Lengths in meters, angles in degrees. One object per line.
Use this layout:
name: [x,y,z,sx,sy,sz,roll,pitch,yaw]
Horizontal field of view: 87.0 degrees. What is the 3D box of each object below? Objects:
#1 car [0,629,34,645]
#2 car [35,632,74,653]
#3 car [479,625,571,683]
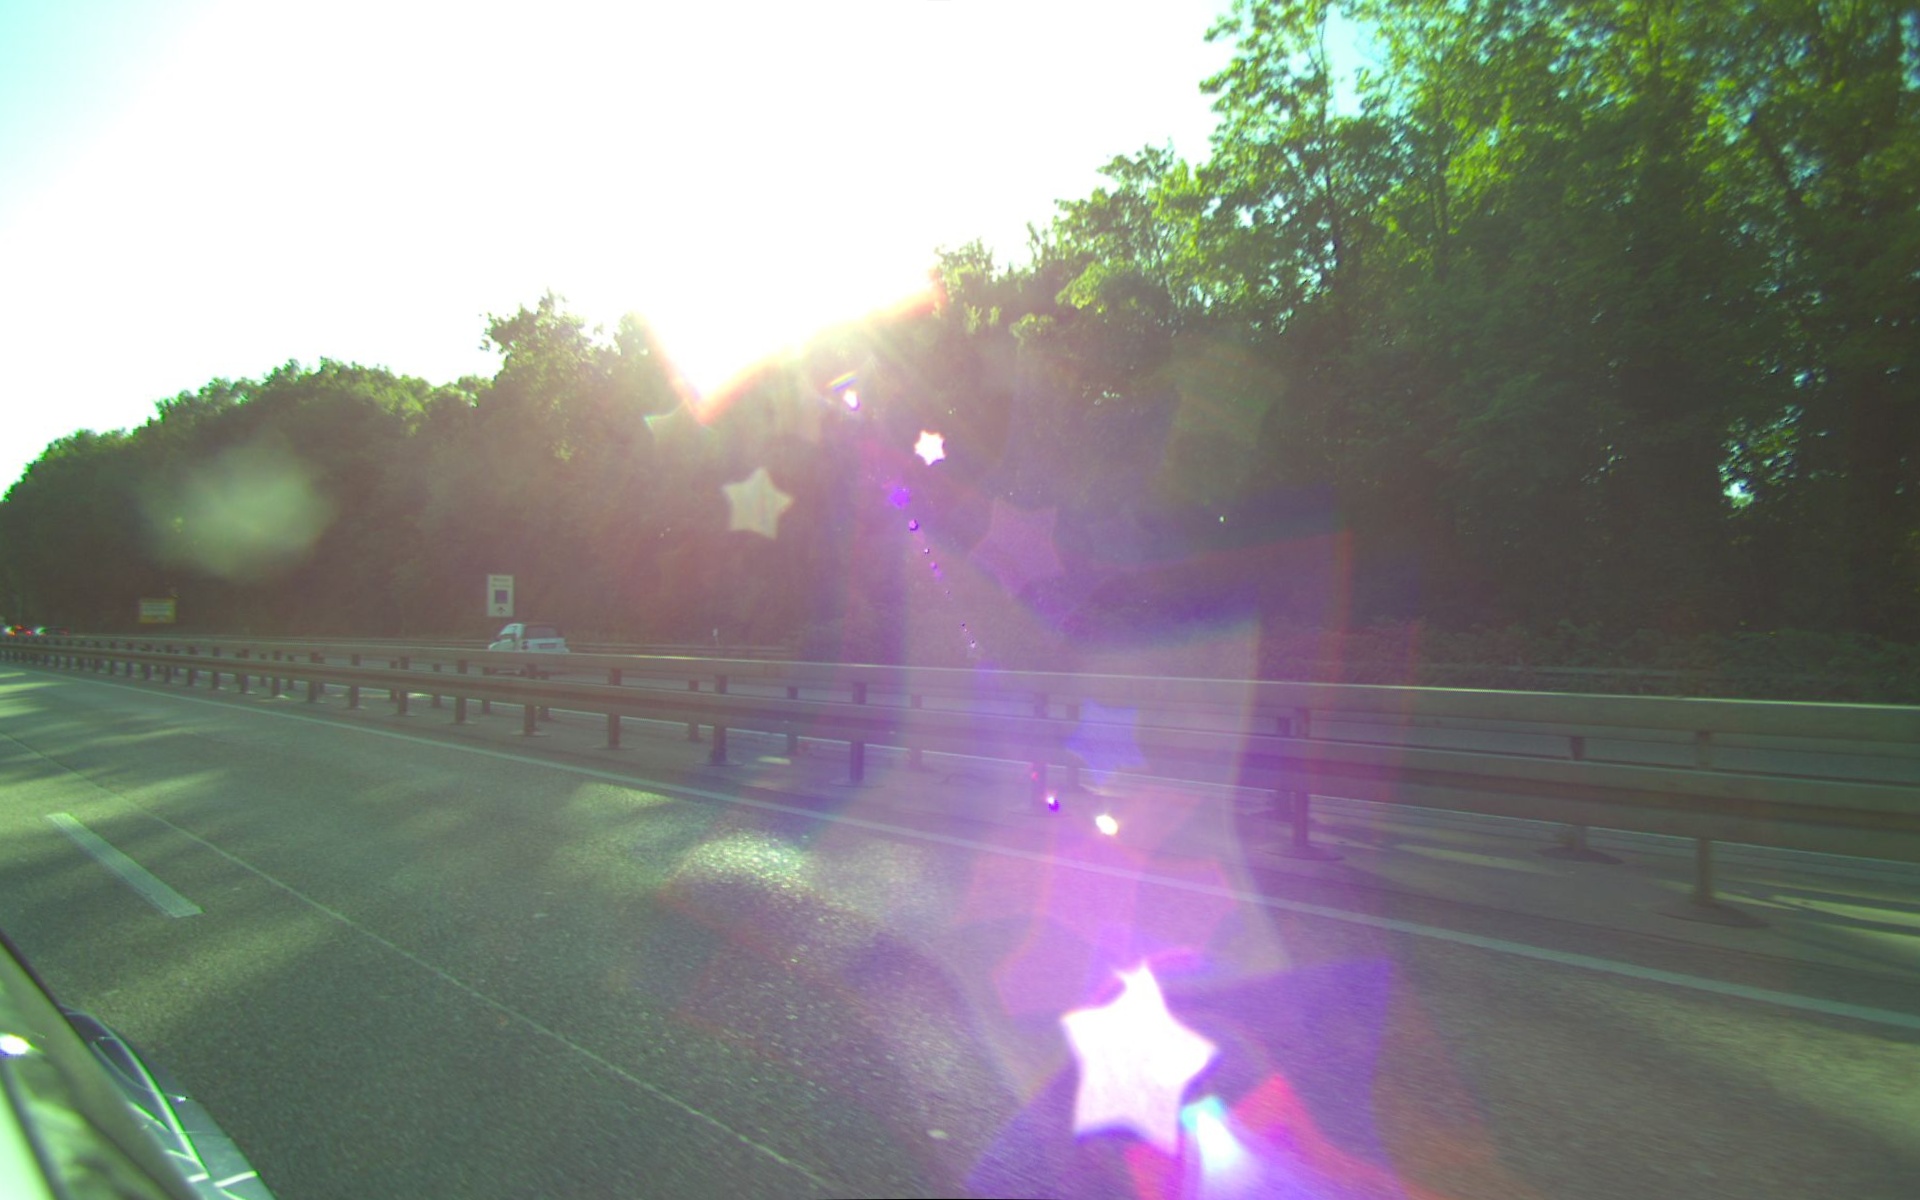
car: [-90.217,3.502,96.598,4.898,1.475,1.973,-1,-4,40]
car: [-66.441,3.091,74.246,3.996,1.434,1.590,-1,-2,39]
car: [-12.976,1.566,30.147,2.873,1.632,1.399,-2,-2,41]
